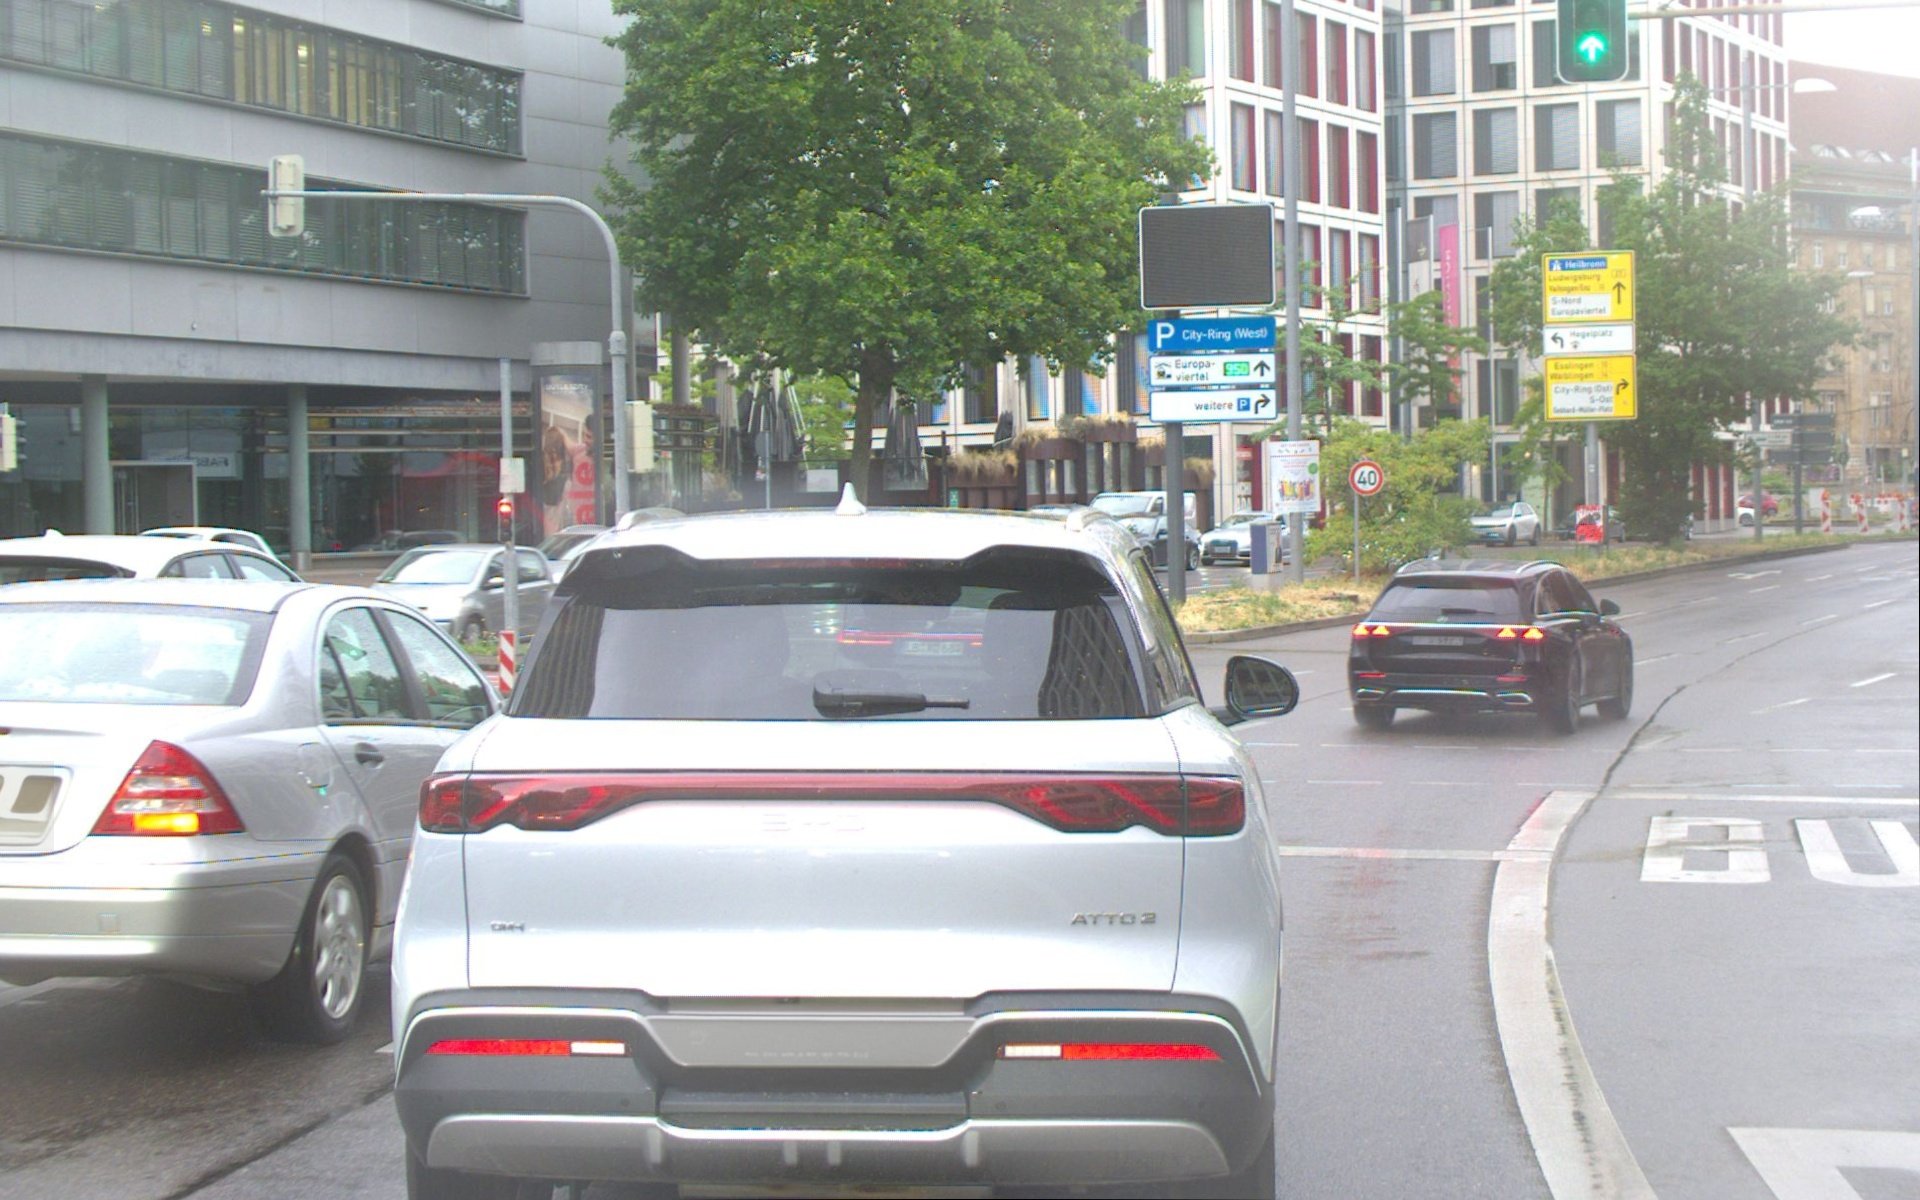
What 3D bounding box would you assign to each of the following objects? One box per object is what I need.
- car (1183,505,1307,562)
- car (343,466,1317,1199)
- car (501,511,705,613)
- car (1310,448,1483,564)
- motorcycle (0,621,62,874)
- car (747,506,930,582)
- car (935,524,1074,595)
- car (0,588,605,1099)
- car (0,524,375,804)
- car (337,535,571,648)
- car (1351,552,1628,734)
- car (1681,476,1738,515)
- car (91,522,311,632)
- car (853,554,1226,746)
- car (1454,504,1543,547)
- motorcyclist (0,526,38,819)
[{"bbox_3d":[7.711,-1.810,92.665,1.996,1.483,3.995,0,2,26],"label":"car"},{"bbox_3d":[-0.135,0.591,8.289,1.776,1.673,4.000,1,0,3],"label":"car"},{"bbox_3d":[-5.733,-0.625,55.651,1.645,1.575,4.081,1,1,20],"label":"car"},{"bbox_3d":[8.090,-1.694,63.397,1.996,2.007,4.843,1,0,22],"label":"car"},{"bbox_3d":[-4.935,0.693,15.886,0.800,1.180,2.028,1,0,8],"label":"motorcycle"},{"bbox_3d":[-2.496,-1.191,72.075,1.816,1.505,5.190,0,2,23],"label":"car"},{"bbox_3d":[1.067,-0.953,79.533,1.633,1.553,4.588,0,2,22],"label":"car"},{"bbox_3d":[-2.507,0.669,11.672,1.571,1.402,4.108,1,0,9],"label":"car"},{"bbox_3d":[-4.923,0.330,20.376,1.707,1.481,3.999,1,0,8],"label":"car"},{"bbox_3d":[-6.483,-0.108,44.446,1.691,1.380,3.866,1,0,13],"label":"car"},{"bbox_3d":[4.728,0.347,30.282,1.695,1.481,3.996,1,0,19],"label":"car"},{"bbox_3d":[35.416,-4.938,162.490,1.609,1.735,3.439,1,0,31],"label":"car"},{"bbox_3d":[-11.317,-0.340,51.485,1.639,1.565,3.716,1,0,16],"label":"car"},{"bbox_3d":[0.746,0.387,28.866,1.573,1.481,3.994,1,0,27],"label":"car"},{"bbox_3d":[19.046,-2.635,121.422,1.996,1.483,3.995,0,2,26],"label":"car"},{"bbox_3d":[-4.904,0.336,16.033,0.770,1.375,1.118,1,0,8],"label":"motorcyclist"}]
